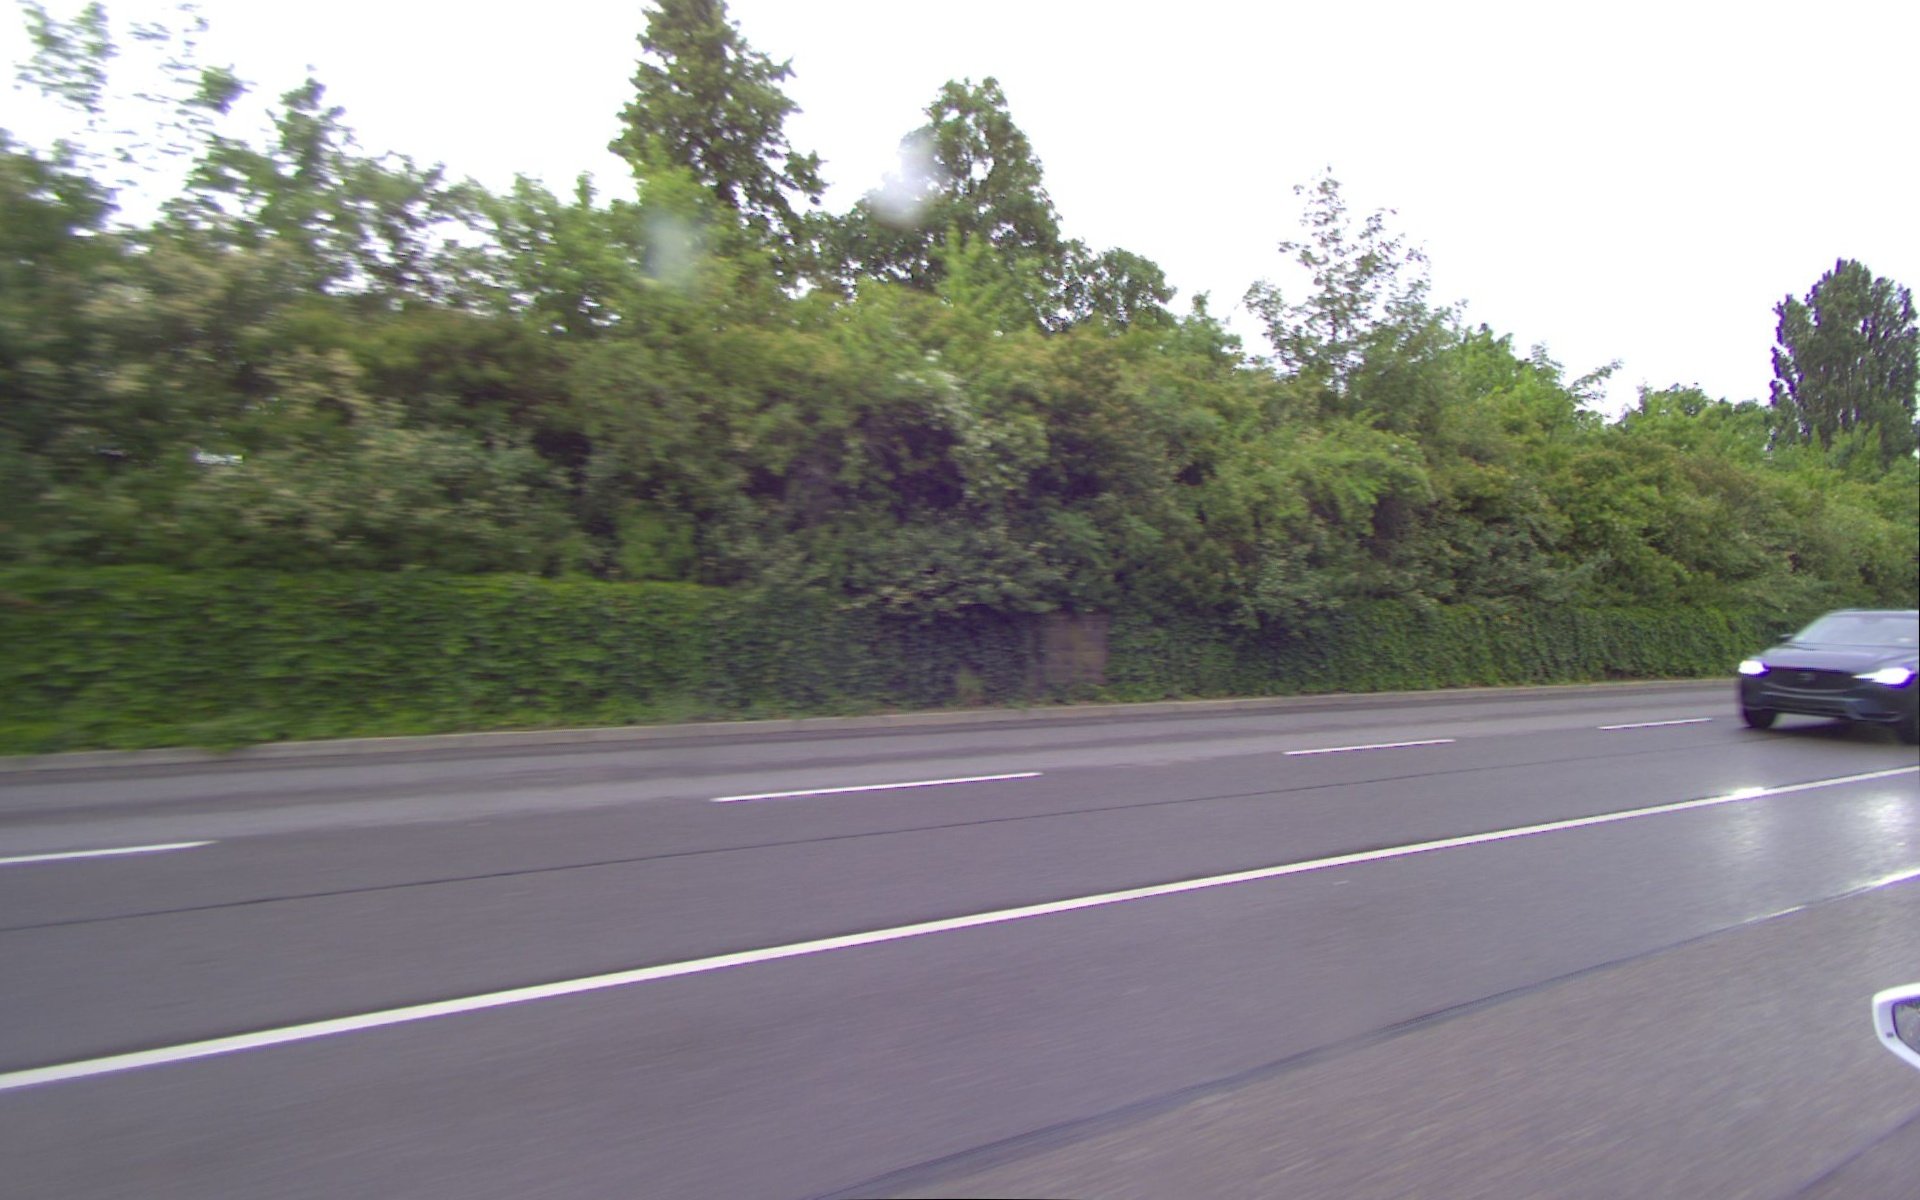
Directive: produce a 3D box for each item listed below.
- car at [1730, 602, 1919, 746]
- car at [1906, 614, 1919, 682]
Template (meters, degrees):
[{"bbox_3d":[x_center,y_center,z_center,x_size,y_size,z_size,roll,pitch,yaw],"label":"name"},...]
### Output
[{"bbox_3d":[12.746,0.928,13.827,4.541,1.680,1.803,1,0,-30],"label":"car"},{"bbox_3d":[24.662,1.193,23.861,4.574,1.573,1.890,1,1,-29],"label":"car"}]
